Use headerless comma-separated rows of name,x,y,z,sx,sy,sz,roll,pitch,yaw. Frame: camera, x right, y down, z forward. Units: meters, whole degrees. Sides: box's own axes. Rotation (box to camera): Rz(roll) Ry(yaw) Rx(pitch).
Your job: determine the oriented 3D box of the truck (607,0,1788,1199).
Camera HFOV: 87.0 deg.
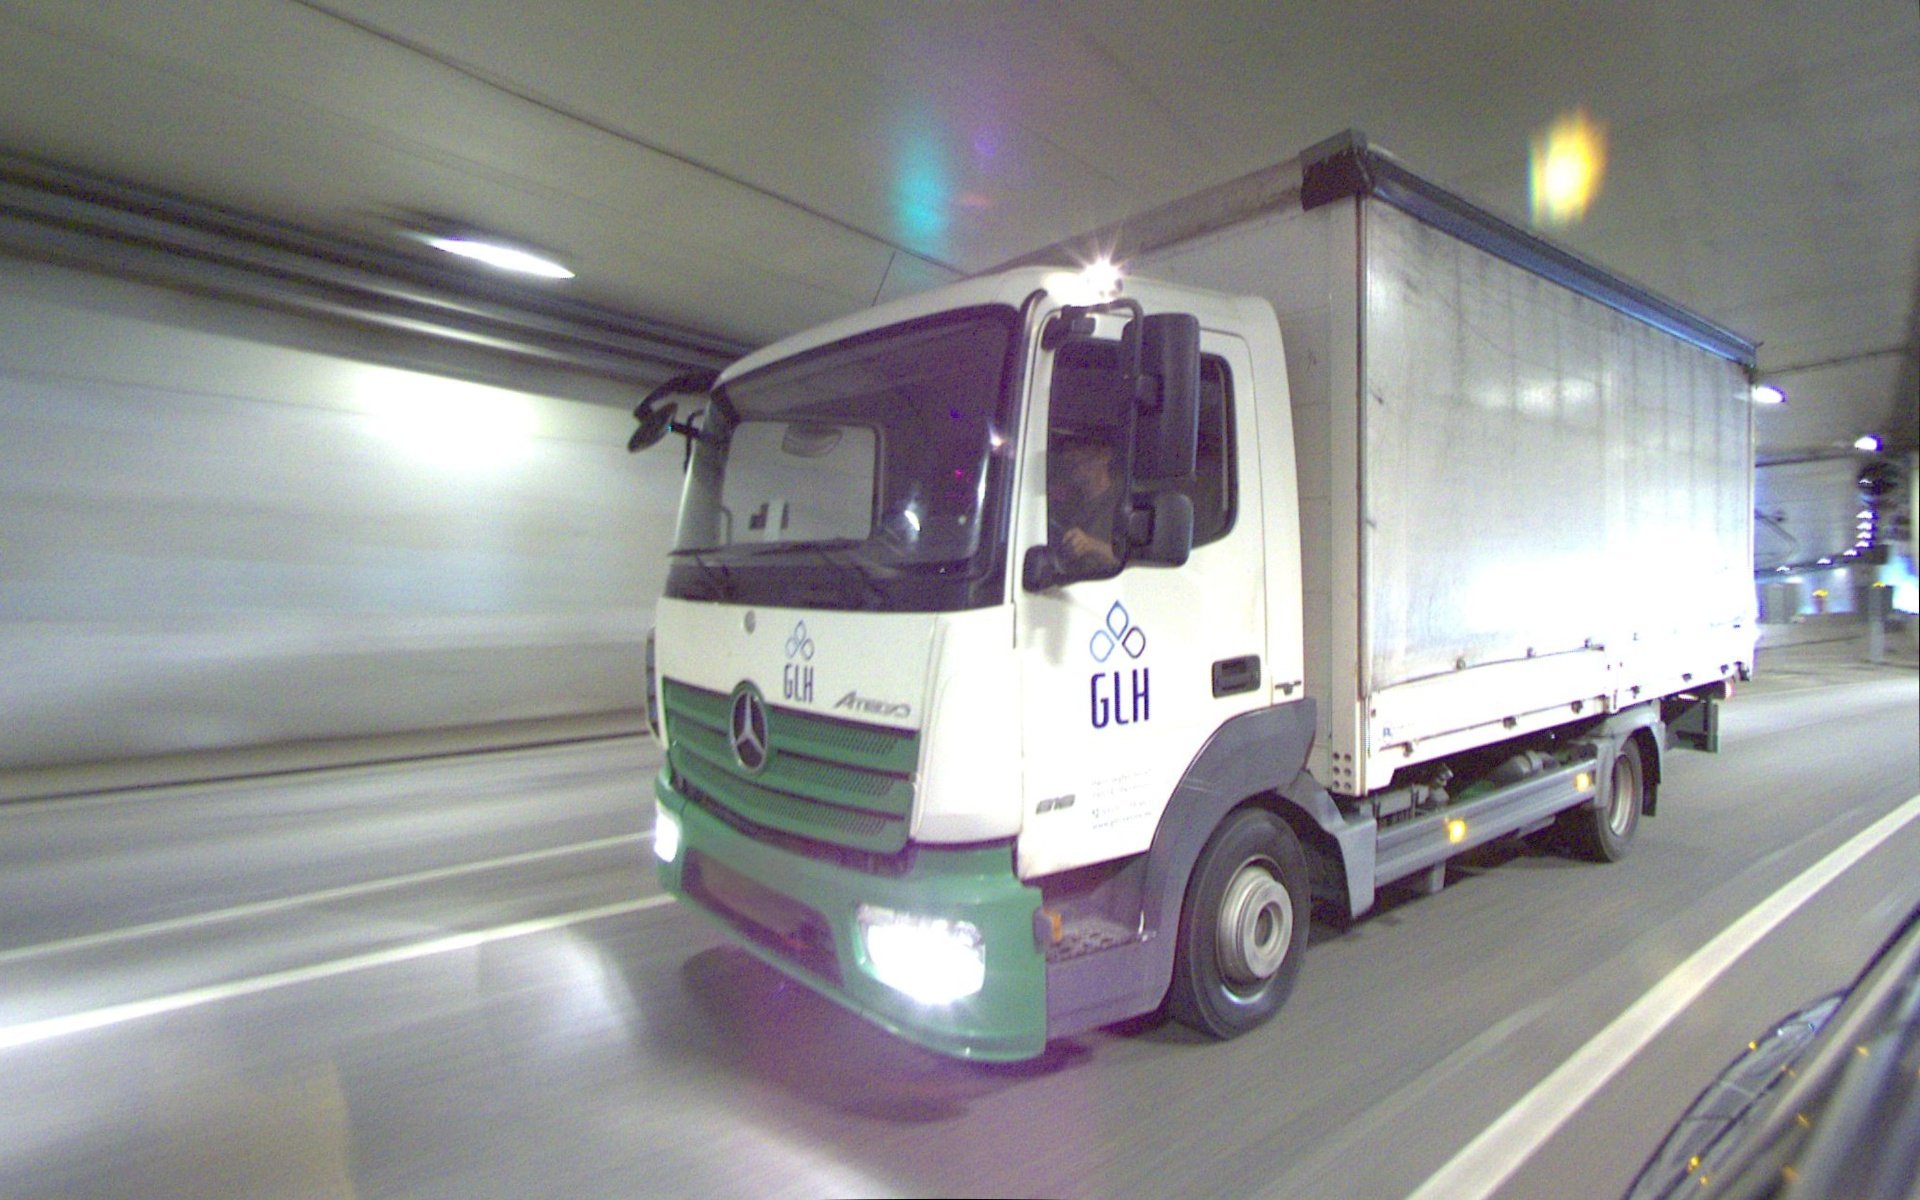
truck,2.036,-0.229,5.622,7.115,3.221,2.559,-1,1,-39
